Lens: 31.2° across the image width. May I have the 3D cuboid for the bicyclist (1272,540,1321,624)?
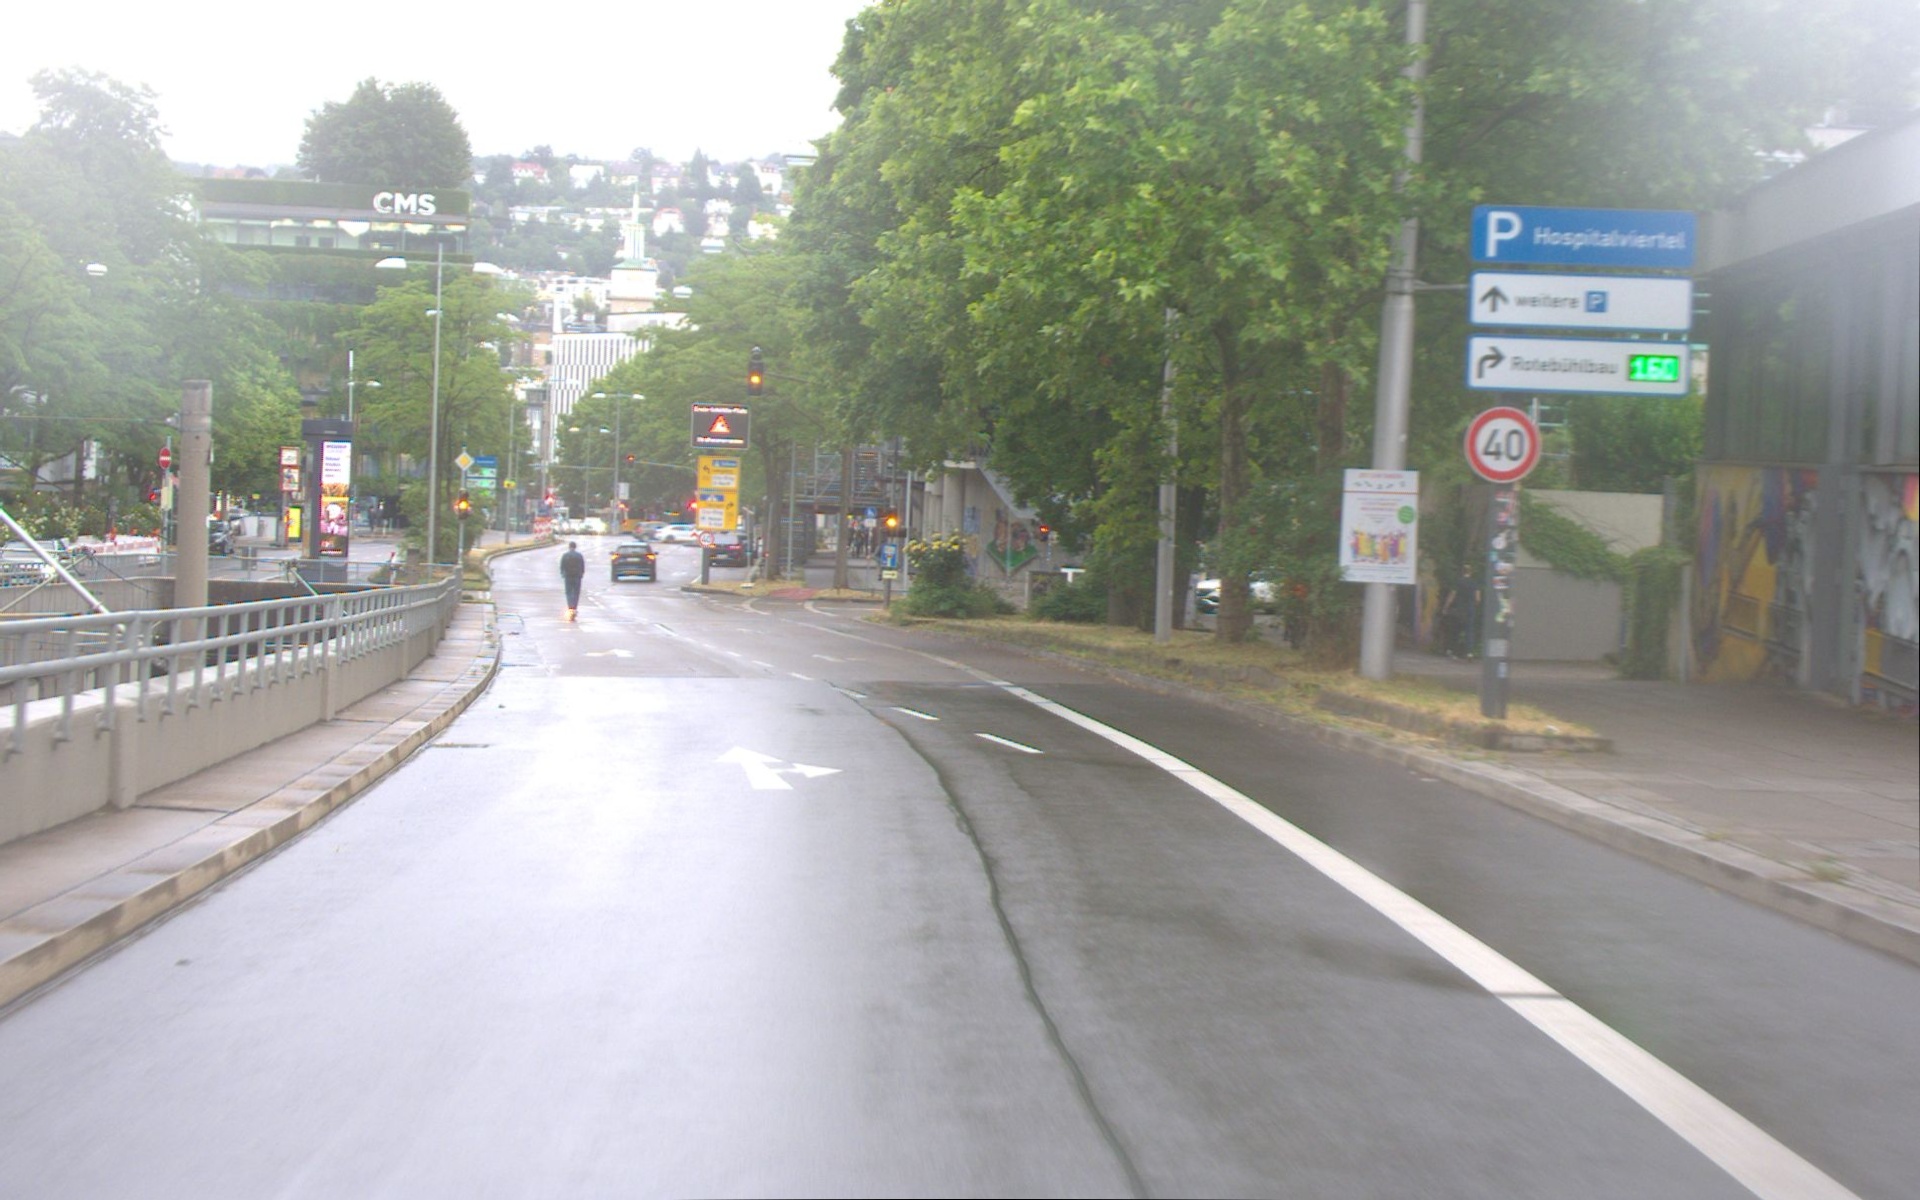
[{"bbox_3d":[6.688,-0.361,68.347,0.806,1.622,1.046,2,0,-1],"label":"bicyclist"}]

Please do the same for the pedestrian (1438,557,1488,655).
[{"bbox_3d":[9.670,0.106,66.157,0.807,1.858,1.056,1,1,2],"label":"pedestrian"}]

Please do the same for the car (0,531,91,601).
[{"bbox_3d":[-24.013,-0.908,89.888,1.836,1.707,4.578,2,1,-6],"label":"car"}]

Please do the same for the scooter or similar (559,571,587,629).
[{"bbox_3d":[-9.789,-0.012,86.937,0.546,1.414,1.956,3,1,-9],"label":"scooter or similar"}]

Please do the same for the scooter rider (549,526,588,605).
[{"bbox_3d":[-9.872,-0.879,86.718,0.808,1.941,0.822,3,1,-12],"label":"scooter rider"}]

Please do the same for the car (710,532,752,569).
[{"bbox_3d":[-11.034,-2.402,165.736,1.901,1.678,3.911,3,1,-4],"label":"car"}]

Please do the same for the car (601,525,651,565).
[{"bbox_3d":[-13.285,-2.187,136.426,1.745,1.514,4.108,3,1,-8],"label":"car"}]

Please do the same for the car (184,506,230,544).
[{"bbox_3d":[-35.552,-3.544,162.410,1.780,1.550,3.895,3,3,-9],"label":"car"}]

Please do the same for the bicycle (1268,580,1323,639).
[{"bbox_3d":[6.668,0.181,68.437,0.806,1.108,2.198,2,0,-1],"label":"bicycle"}]

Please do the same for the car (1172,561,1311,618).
[{"bbox_3d":[9.295,-0.355,113.379,4.343,1.678,1.752,2,1,-32],"label":"car"}]
